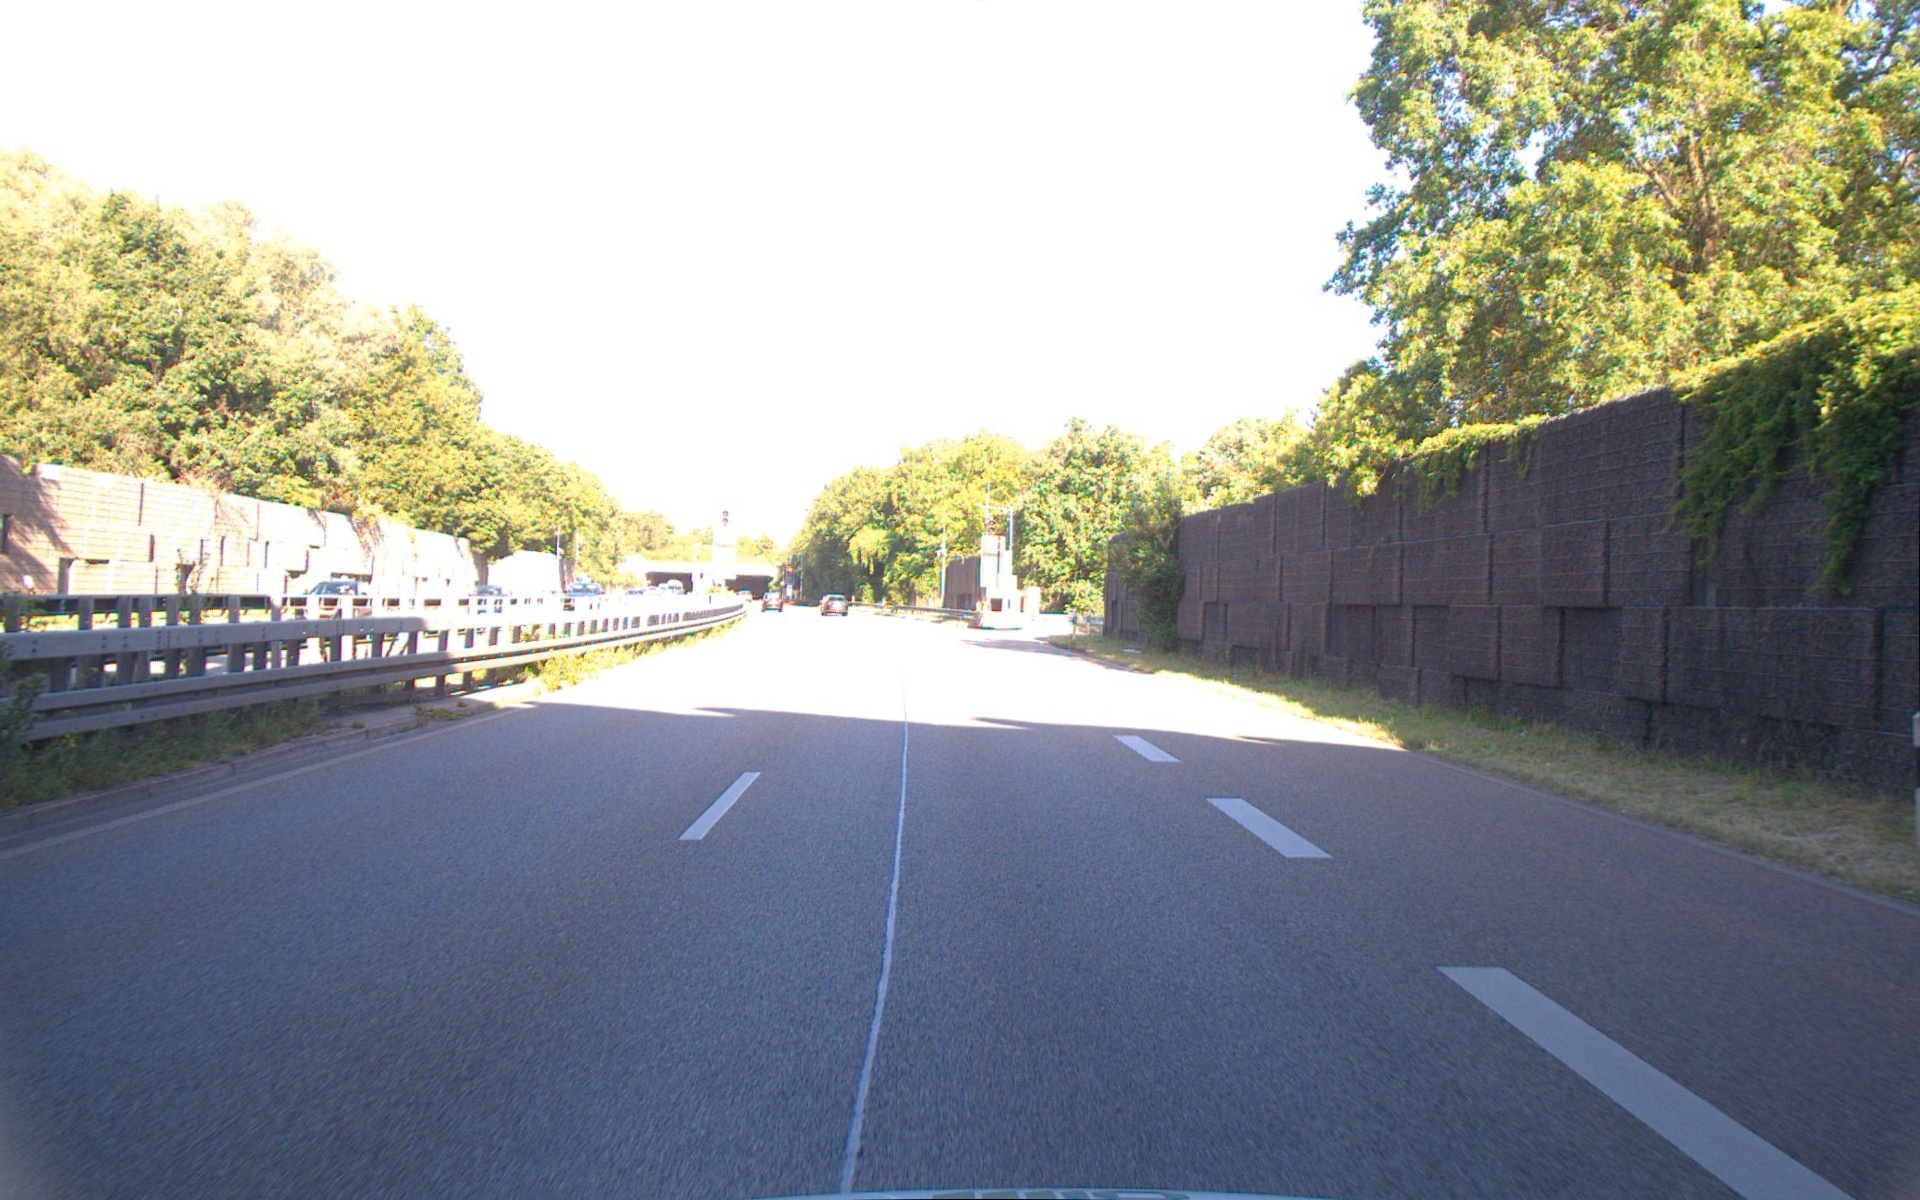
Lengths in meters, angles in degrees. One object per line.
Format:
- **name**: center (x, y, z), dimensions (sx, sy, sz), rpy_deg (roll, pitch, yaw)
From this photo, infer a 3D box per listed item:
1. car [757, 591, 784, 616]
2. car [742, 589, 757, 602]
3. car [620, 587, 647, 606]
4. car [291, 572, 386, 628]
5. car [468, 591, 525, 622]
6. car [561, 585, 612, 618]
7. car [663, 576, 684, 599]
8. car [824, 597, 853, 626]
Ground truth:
- **car**: center (-15.806, 0.243, 138.125), dimensions (1.954, 1.959, 3.998), rpy_deg (2, 0, -3)
- **car**: center (-32.152, -0.678, 252.598), dimensions (1.958, 1.959, 3.989), rpy_deg (2, 0, -11)
- **car**: center (-29.791, -0.332, 150.856), dimensions (1.956, 1.506, 4.528), rpy_deg (4, 0, -7)
- **car**: center (-19.714, -0.027, 52.653), dimensions (1.515, 1.601, 4.392), rpy_deg (3, 0, -4)
- **car**: center (-23.005, 0.297, 82.226), dimensions (1.860, 1.446, 4.132), rpy_deg (0, 1, -4)
- **car**: center (-19.963, 0.041, 88.583), dimensions (1.860, 1.601, 4.804), rpy_deg (4, 0, -4)
- **car**: center (-36.197, -1.616, 208.912), dimensions (2.081, 2.730, 6.579), rpy_deg (3, 0, -7)
- **car**: center (-8.749, 0.810, 119.709), dimensions (1.954, 1.959, 3.998), rpy_deg (2, 0, -3)
